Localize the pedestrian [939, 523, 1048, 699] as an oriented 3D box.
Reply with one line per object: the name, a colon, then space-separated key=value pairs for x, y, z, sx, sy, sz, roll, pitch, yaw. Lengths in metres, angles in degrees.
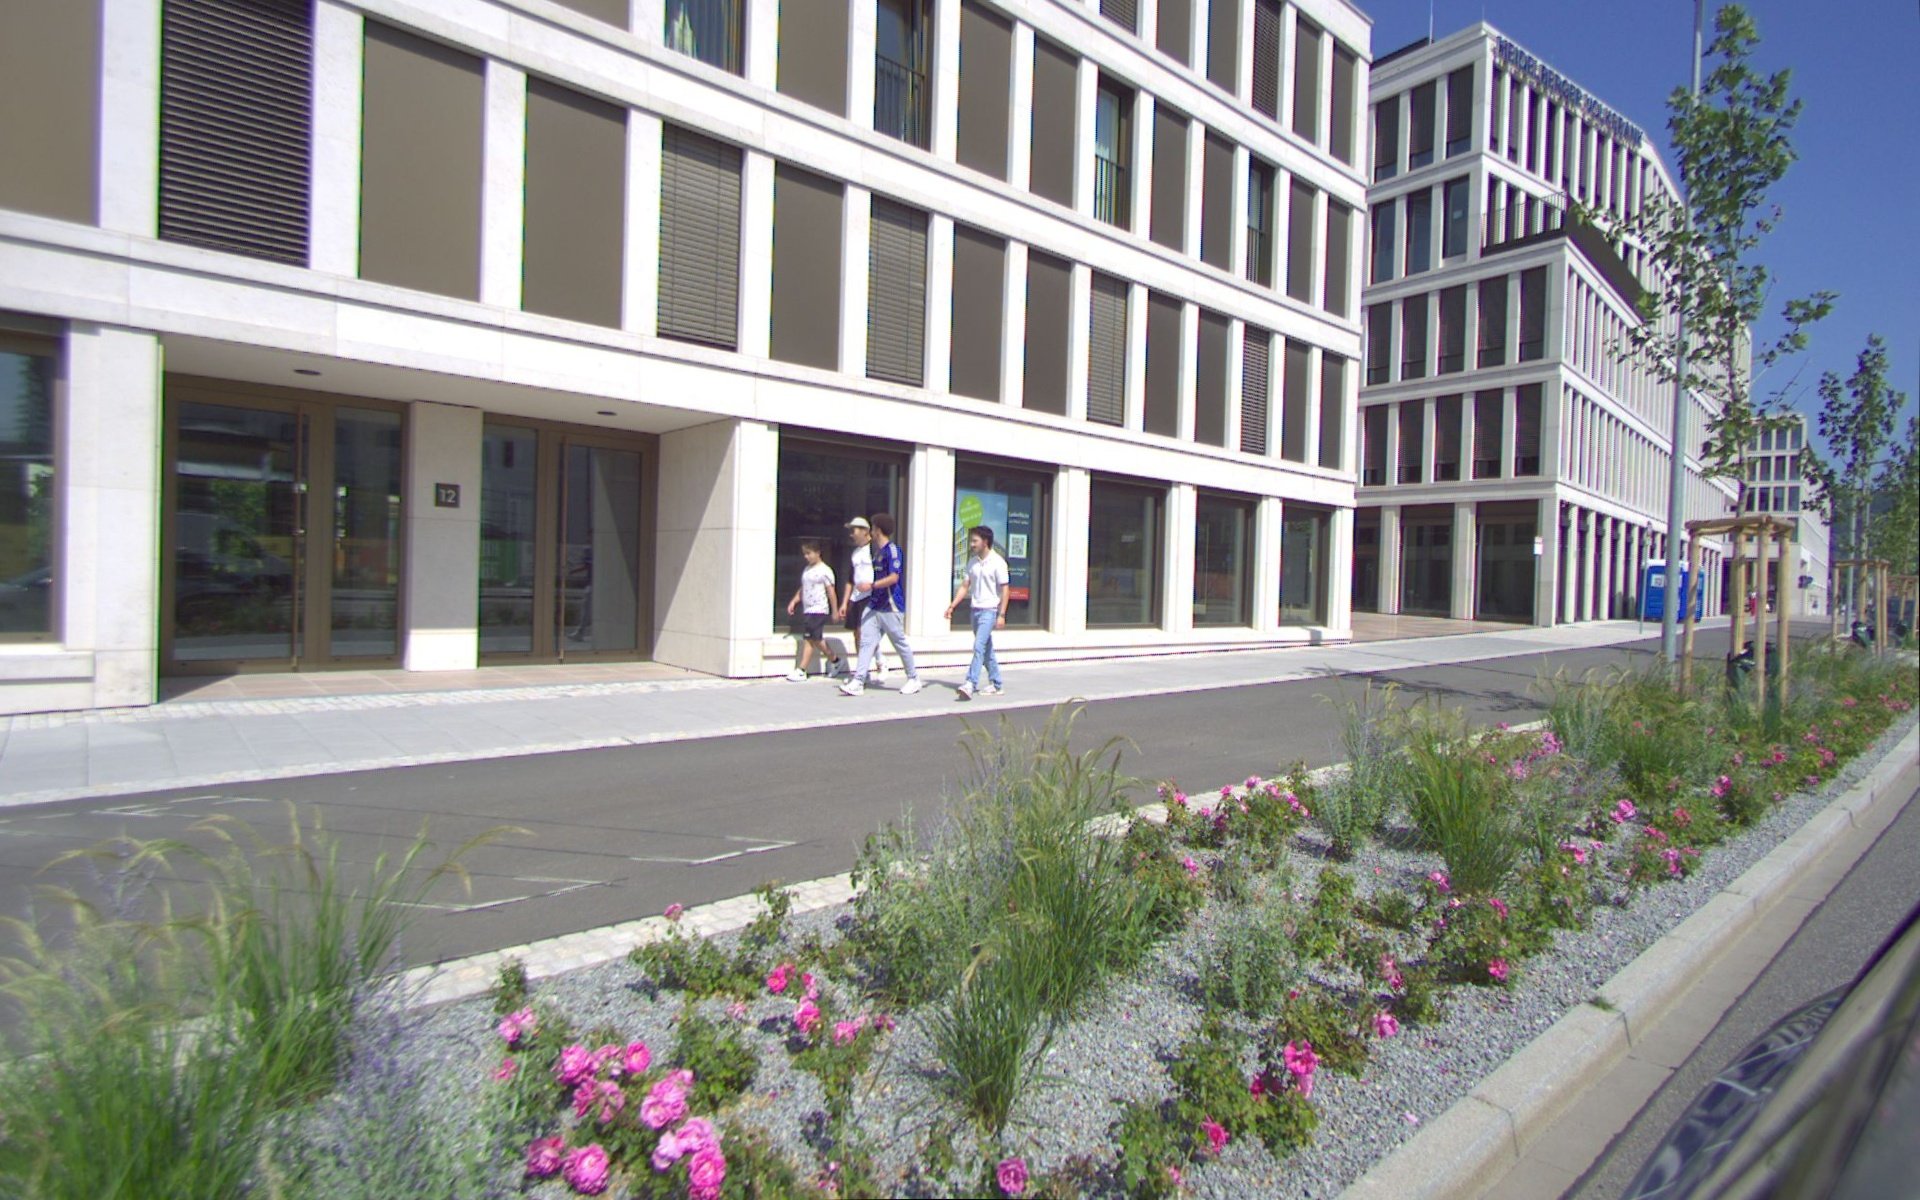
pedestrian: x=0.353 y=0.090 z=10.533 sx=0.980 sy=1.741 sz=0.578 roll=0 pitch=2 yaw=-42

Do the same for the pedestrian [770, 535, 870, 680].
pedestrian: x=-1.606 y=0.063 z=11.578 sx=0.828 sy=1.585 sz=0.770 roll=0 pitch=2 yaw=-42

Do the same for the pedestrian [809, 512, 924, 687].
pedestrian: x=-1.025 y=-0.027 z=11.080 sx=0.911 sy=1.805 sz=0.826 roll=0 pitch=2 yaw=-42

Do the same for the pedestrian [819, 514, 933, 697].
pedestrian: x=-0.845 y=0.034 z=10.252 sx=0.980 sy=1.761 sz=0.578 roll=0 pitch=2 yaw=-42

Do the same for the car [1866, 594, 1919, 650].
car: x=28.172 y=0.620 z=29.770 sx=3.931 sy=1.527 sz=1.809 roll=0 pitch=2 yaw=-42
